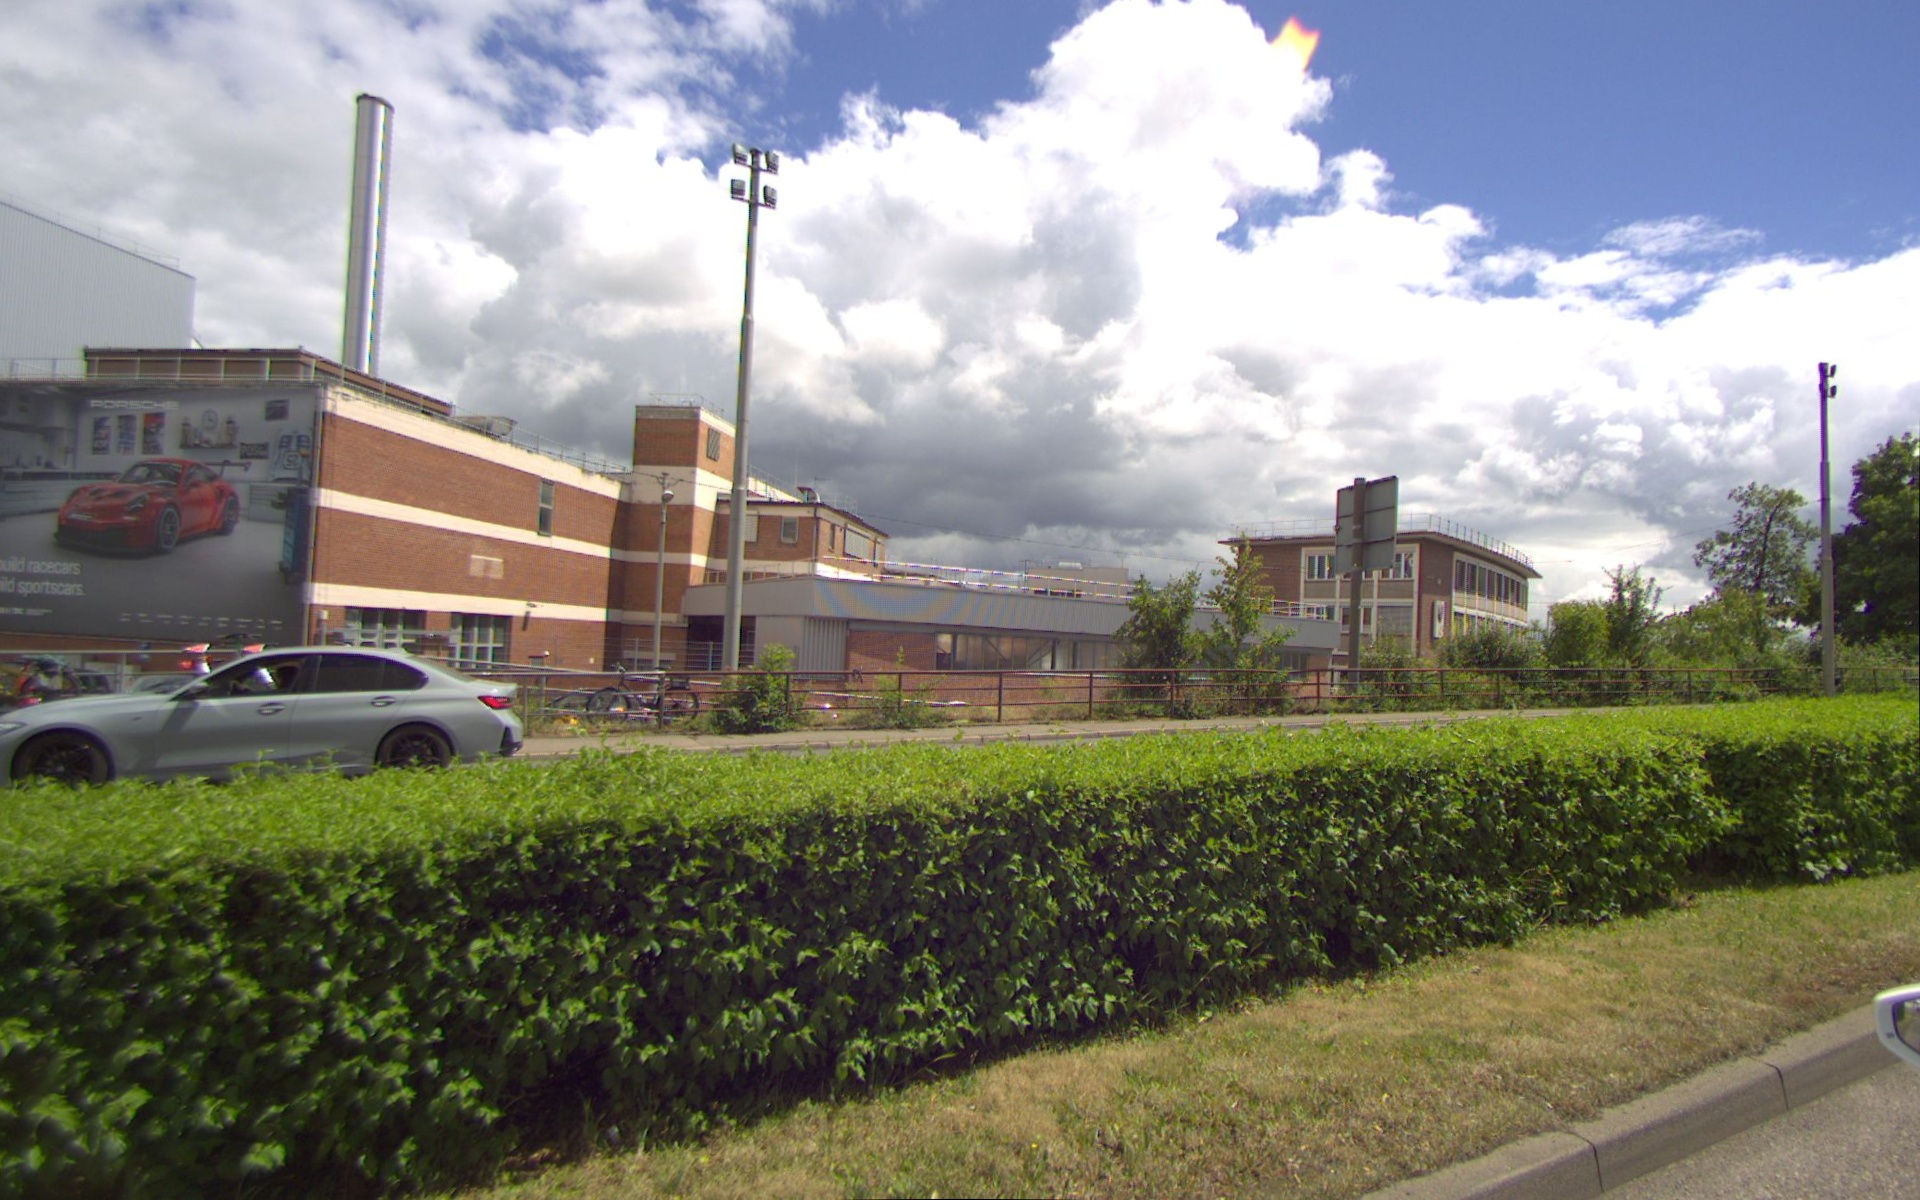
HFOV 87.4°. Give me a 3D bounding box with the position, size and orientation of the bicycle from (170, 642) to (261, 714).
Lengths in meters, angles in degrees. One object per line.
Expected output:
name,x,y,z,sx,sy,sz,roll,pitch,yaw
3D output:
bicycle,-11.519,1.176,15.520,1.919,1.002,0.619,-1,-2,38

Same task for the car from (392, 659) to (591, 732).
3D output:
car,-9.520,1.909,20.454,3.532,1.337,1.444,3,-2,-30

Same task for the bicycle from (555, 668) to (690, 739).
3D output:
bicycle,-5.145,1.560,15.340,1.922,1.002,0.518,1,-1,-23

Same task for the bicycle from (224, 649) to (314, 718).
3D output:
bicycle,-11.025,1.301,16.008,1.919,1.002,0.619,-1,-2,38

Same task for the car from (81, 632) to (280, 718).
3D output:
car,-19.017,1.773,24.775,1.717,1.885,4.001,2,-2,0

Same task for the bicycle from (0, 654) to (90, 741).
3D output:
bicycle,-16.056,1.654,17.396,0.700,1.362,1.951,2,-2,-17

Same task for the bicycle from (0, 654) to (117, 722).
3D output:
bicycle,-14.137,1.324,15.274,1.924,1.002,0.518,1,-1,-26

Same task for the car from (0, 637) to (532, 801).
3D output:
car,-7.019,1.177,10.645,4.434,1.440,1.790,3,-3,-27
